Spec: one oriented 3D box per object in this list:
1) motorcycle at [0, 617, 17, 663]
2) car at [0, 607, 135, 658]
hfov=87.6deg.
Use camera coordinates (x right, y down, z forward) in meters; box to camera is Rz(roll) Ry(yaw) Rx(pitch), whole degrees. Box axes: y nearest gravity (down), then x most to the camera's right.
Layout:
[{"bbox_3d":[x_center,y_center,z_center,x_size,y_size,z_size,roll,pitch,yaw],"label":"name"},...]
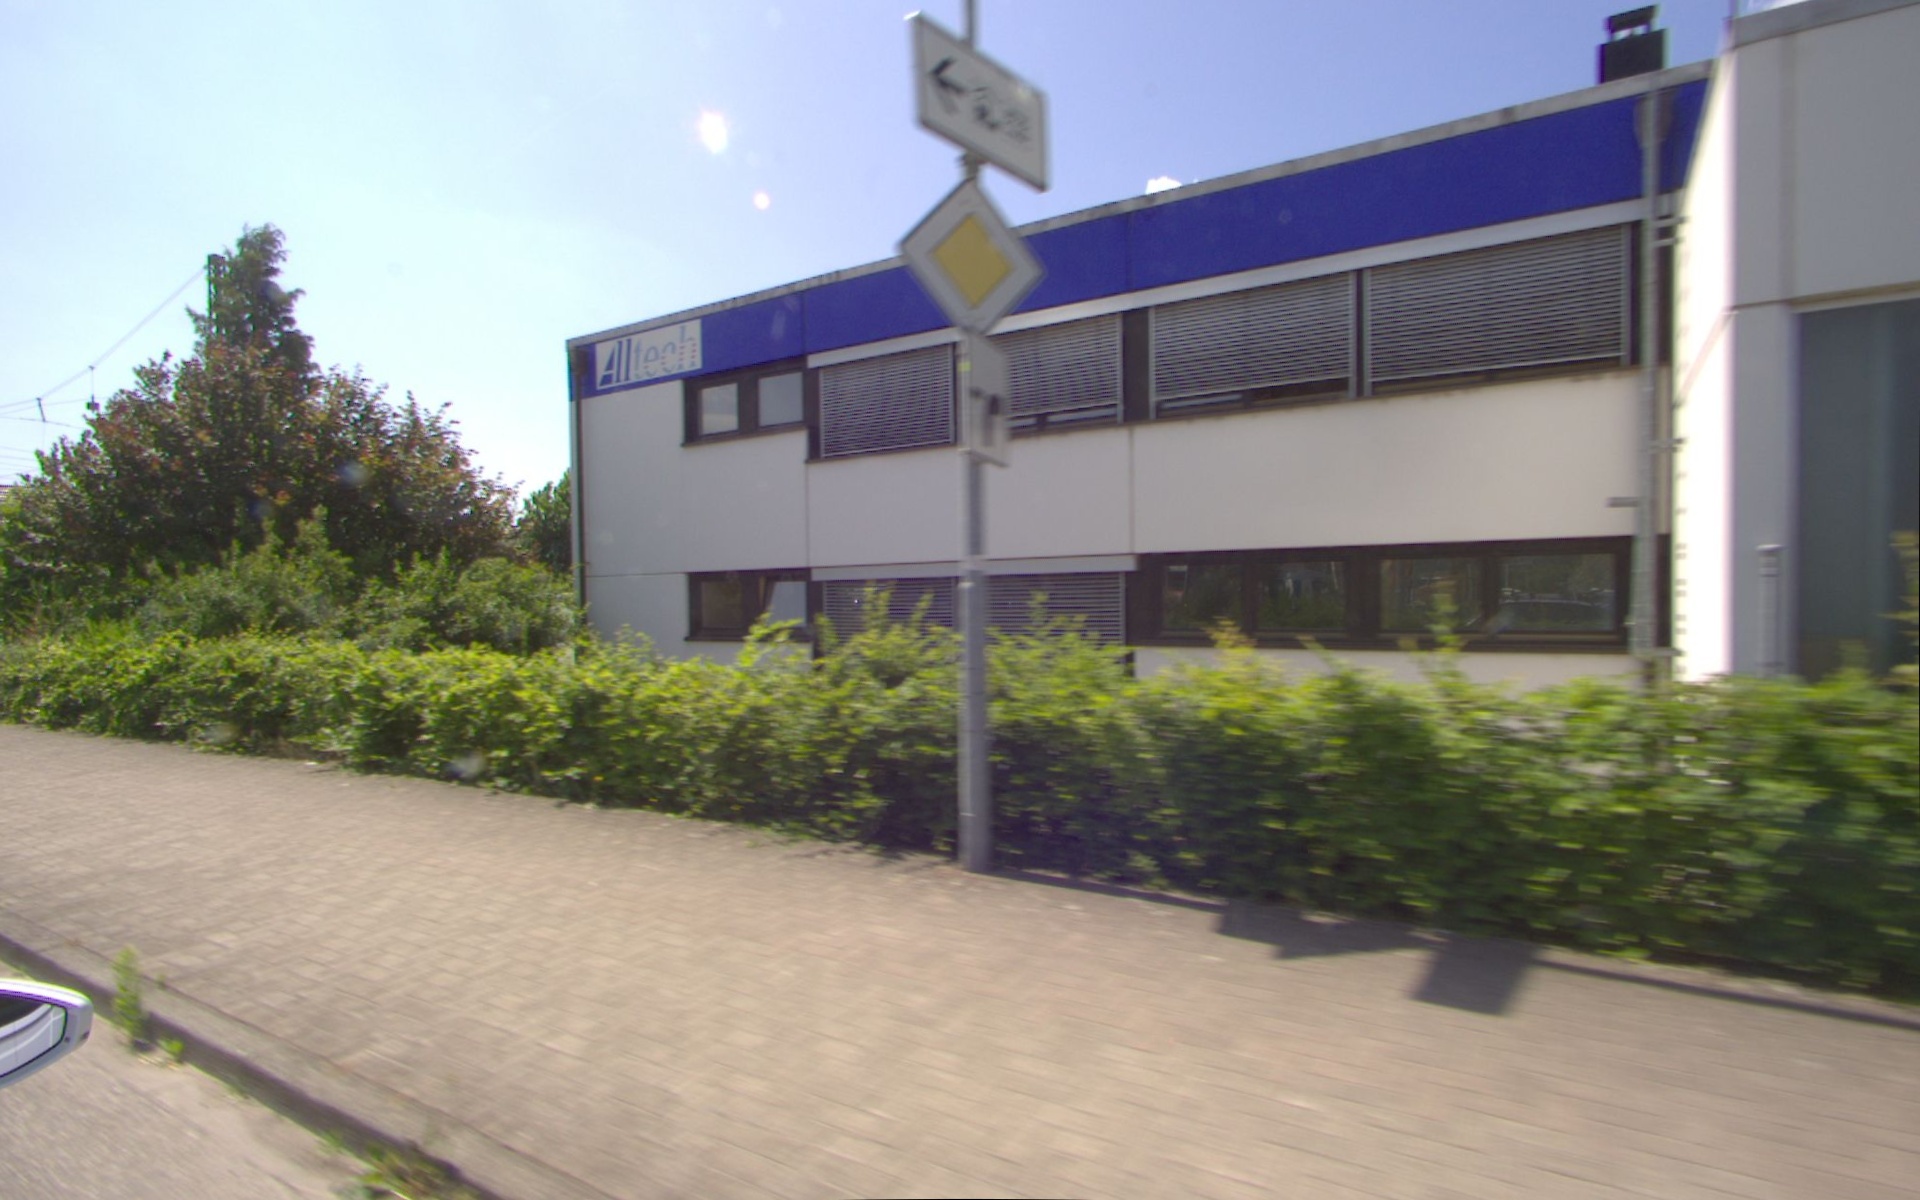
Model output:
[{"bbox_3d":[-27.278,1.080,27.690,1.959,1.245,0.899,1,1,17],"label":"motorcycle"},{"bbox_3d":[-27.387,0.962,30.254,4.037,1.395,1.707,1,-1,14],"label":"car"}]
